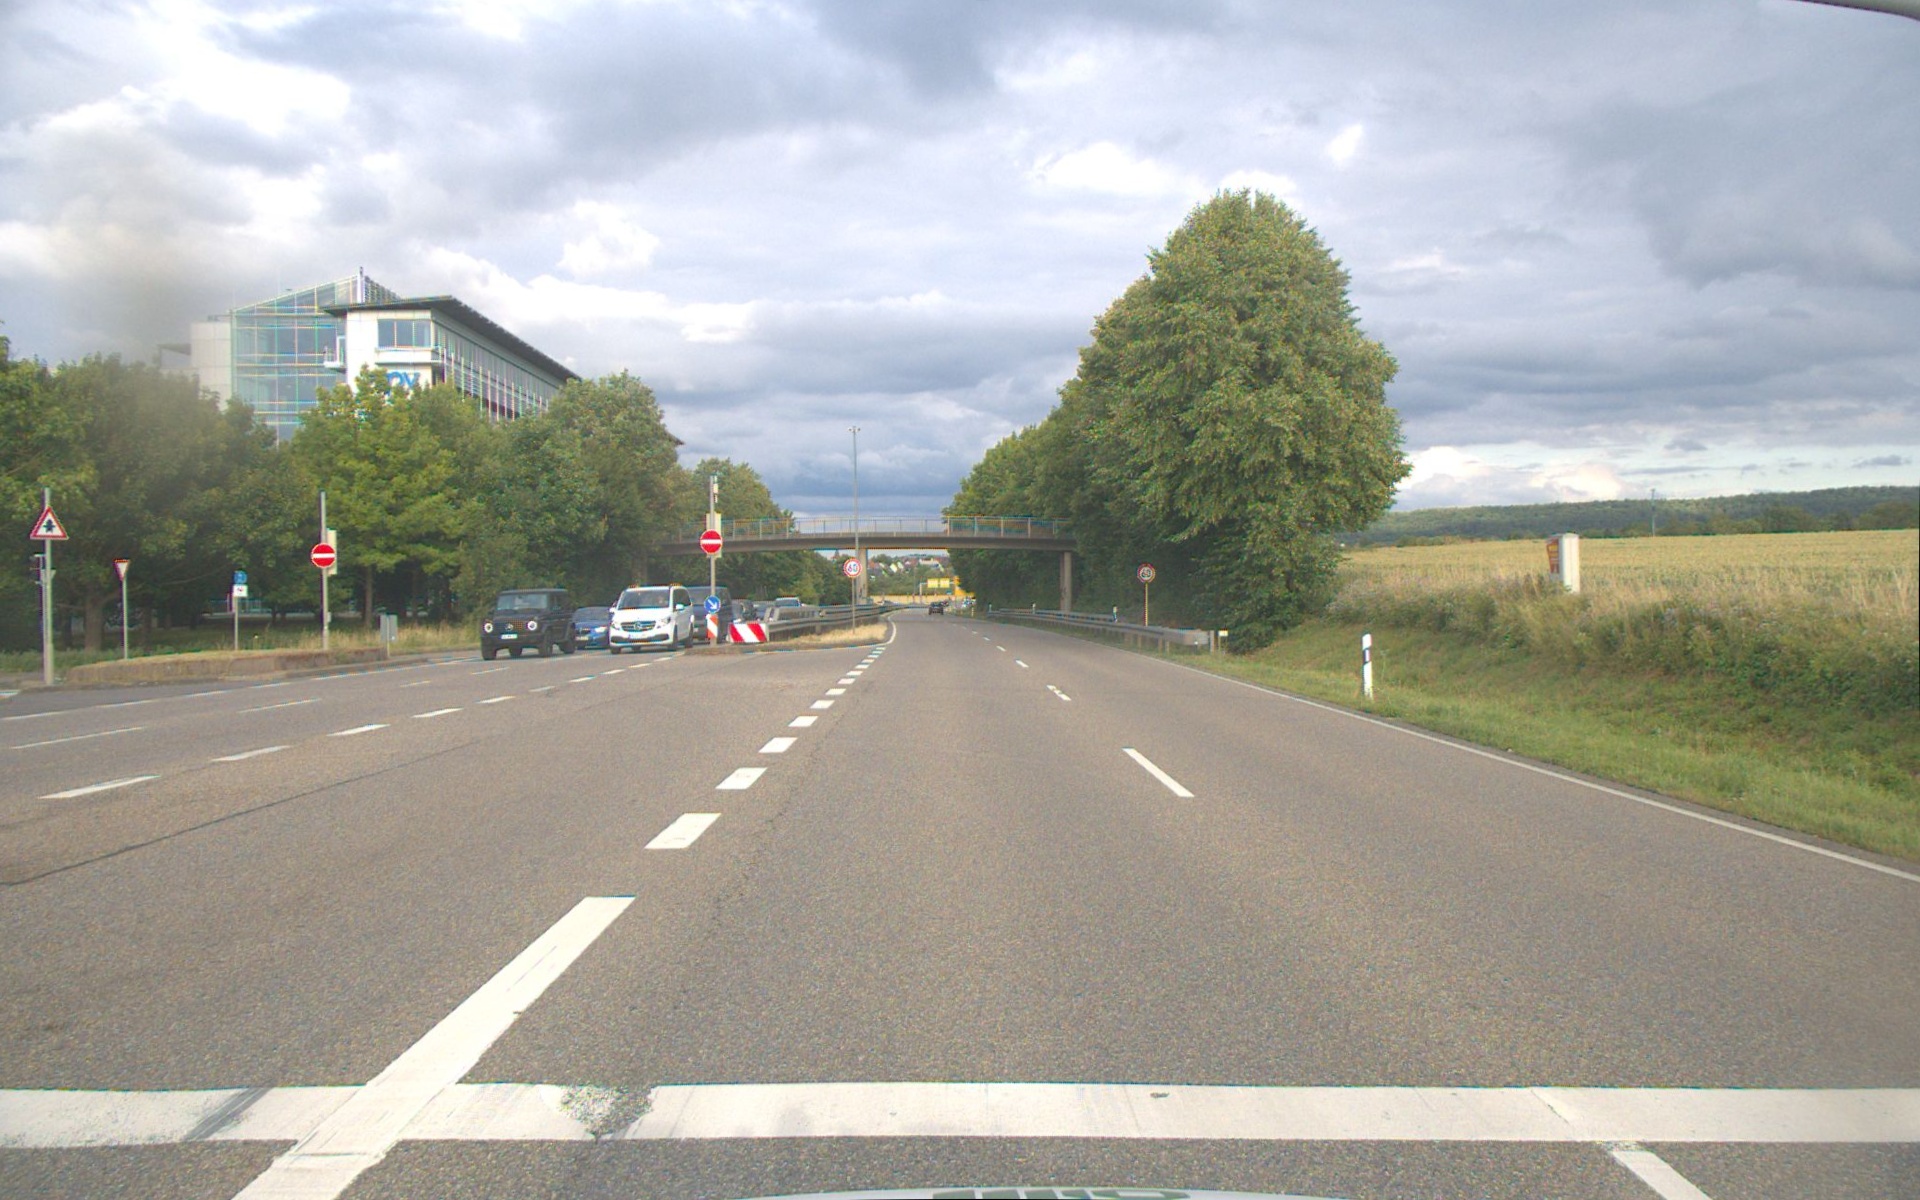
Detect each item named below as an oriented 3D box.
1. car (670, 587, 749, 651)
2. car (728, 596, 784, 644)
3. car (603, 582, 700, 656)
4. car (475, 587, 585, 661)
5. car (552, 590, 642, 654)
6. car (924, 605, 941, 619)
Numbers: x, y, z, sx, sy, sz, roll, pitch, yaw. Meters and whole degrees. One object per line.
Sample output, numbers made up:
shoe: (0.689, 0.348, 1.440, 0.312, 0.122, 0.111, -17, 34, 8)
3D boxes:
car: (-8.563, 0.638, 56.939, 2.041, 2.049, 5.214, 1, 0, -2)
car: (-9.249, 0.892, 75.472, 2.041, 2.049, 5.214, 1, 0, -2)
car: (-9.103, 0.543, 49.195, 2.041, 2.049, 5.214, 1, 0, -2)
car: (-12.662, 0.681, 49.029, 2.041, 2.049, 5.214, 1, 0, -2)
car: (-12.327, 0.727, 56.534, 2.041, 2.049, 5.214, 1, 0, -2)
car: (-3.322, 1.434, 201.090, 1.842, 1.579, 3.997, 1, 0, -4)
